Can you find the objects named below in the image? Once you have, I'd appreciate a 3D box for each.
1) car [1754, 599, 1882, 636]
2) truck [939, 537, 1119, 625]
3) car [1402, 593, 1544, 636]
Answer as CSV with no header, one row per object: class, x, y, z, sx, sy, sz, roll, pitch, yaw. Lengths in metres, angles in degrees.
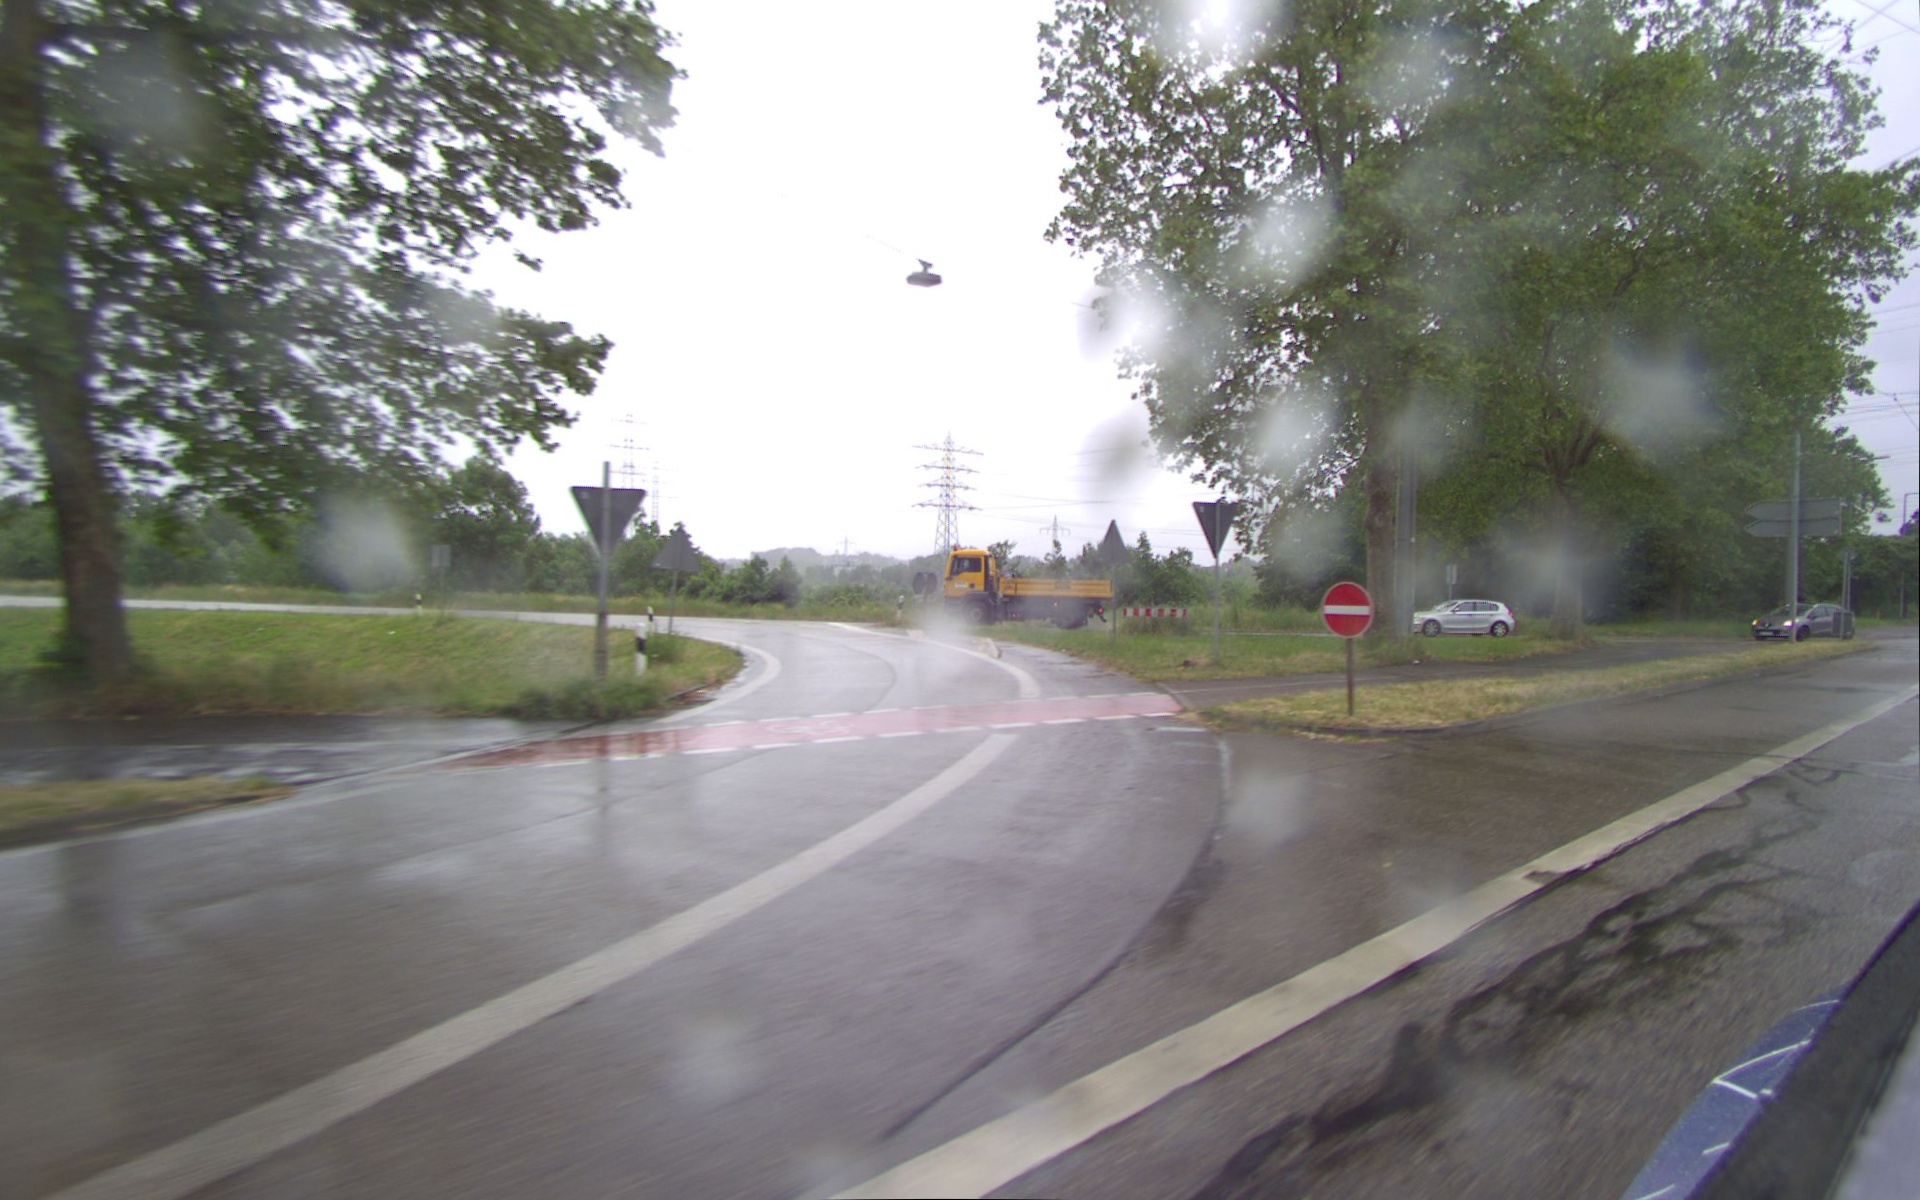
car,33.836,0.677,39.920,4.186,1.374,1.898,1,-1,-17
truck,2.782,-0.745,39.896,6.819,3.299,2.557,1,-1,10
car,19.343,0.555,38.249,4.518,1.522,1.631,1,-1,0
